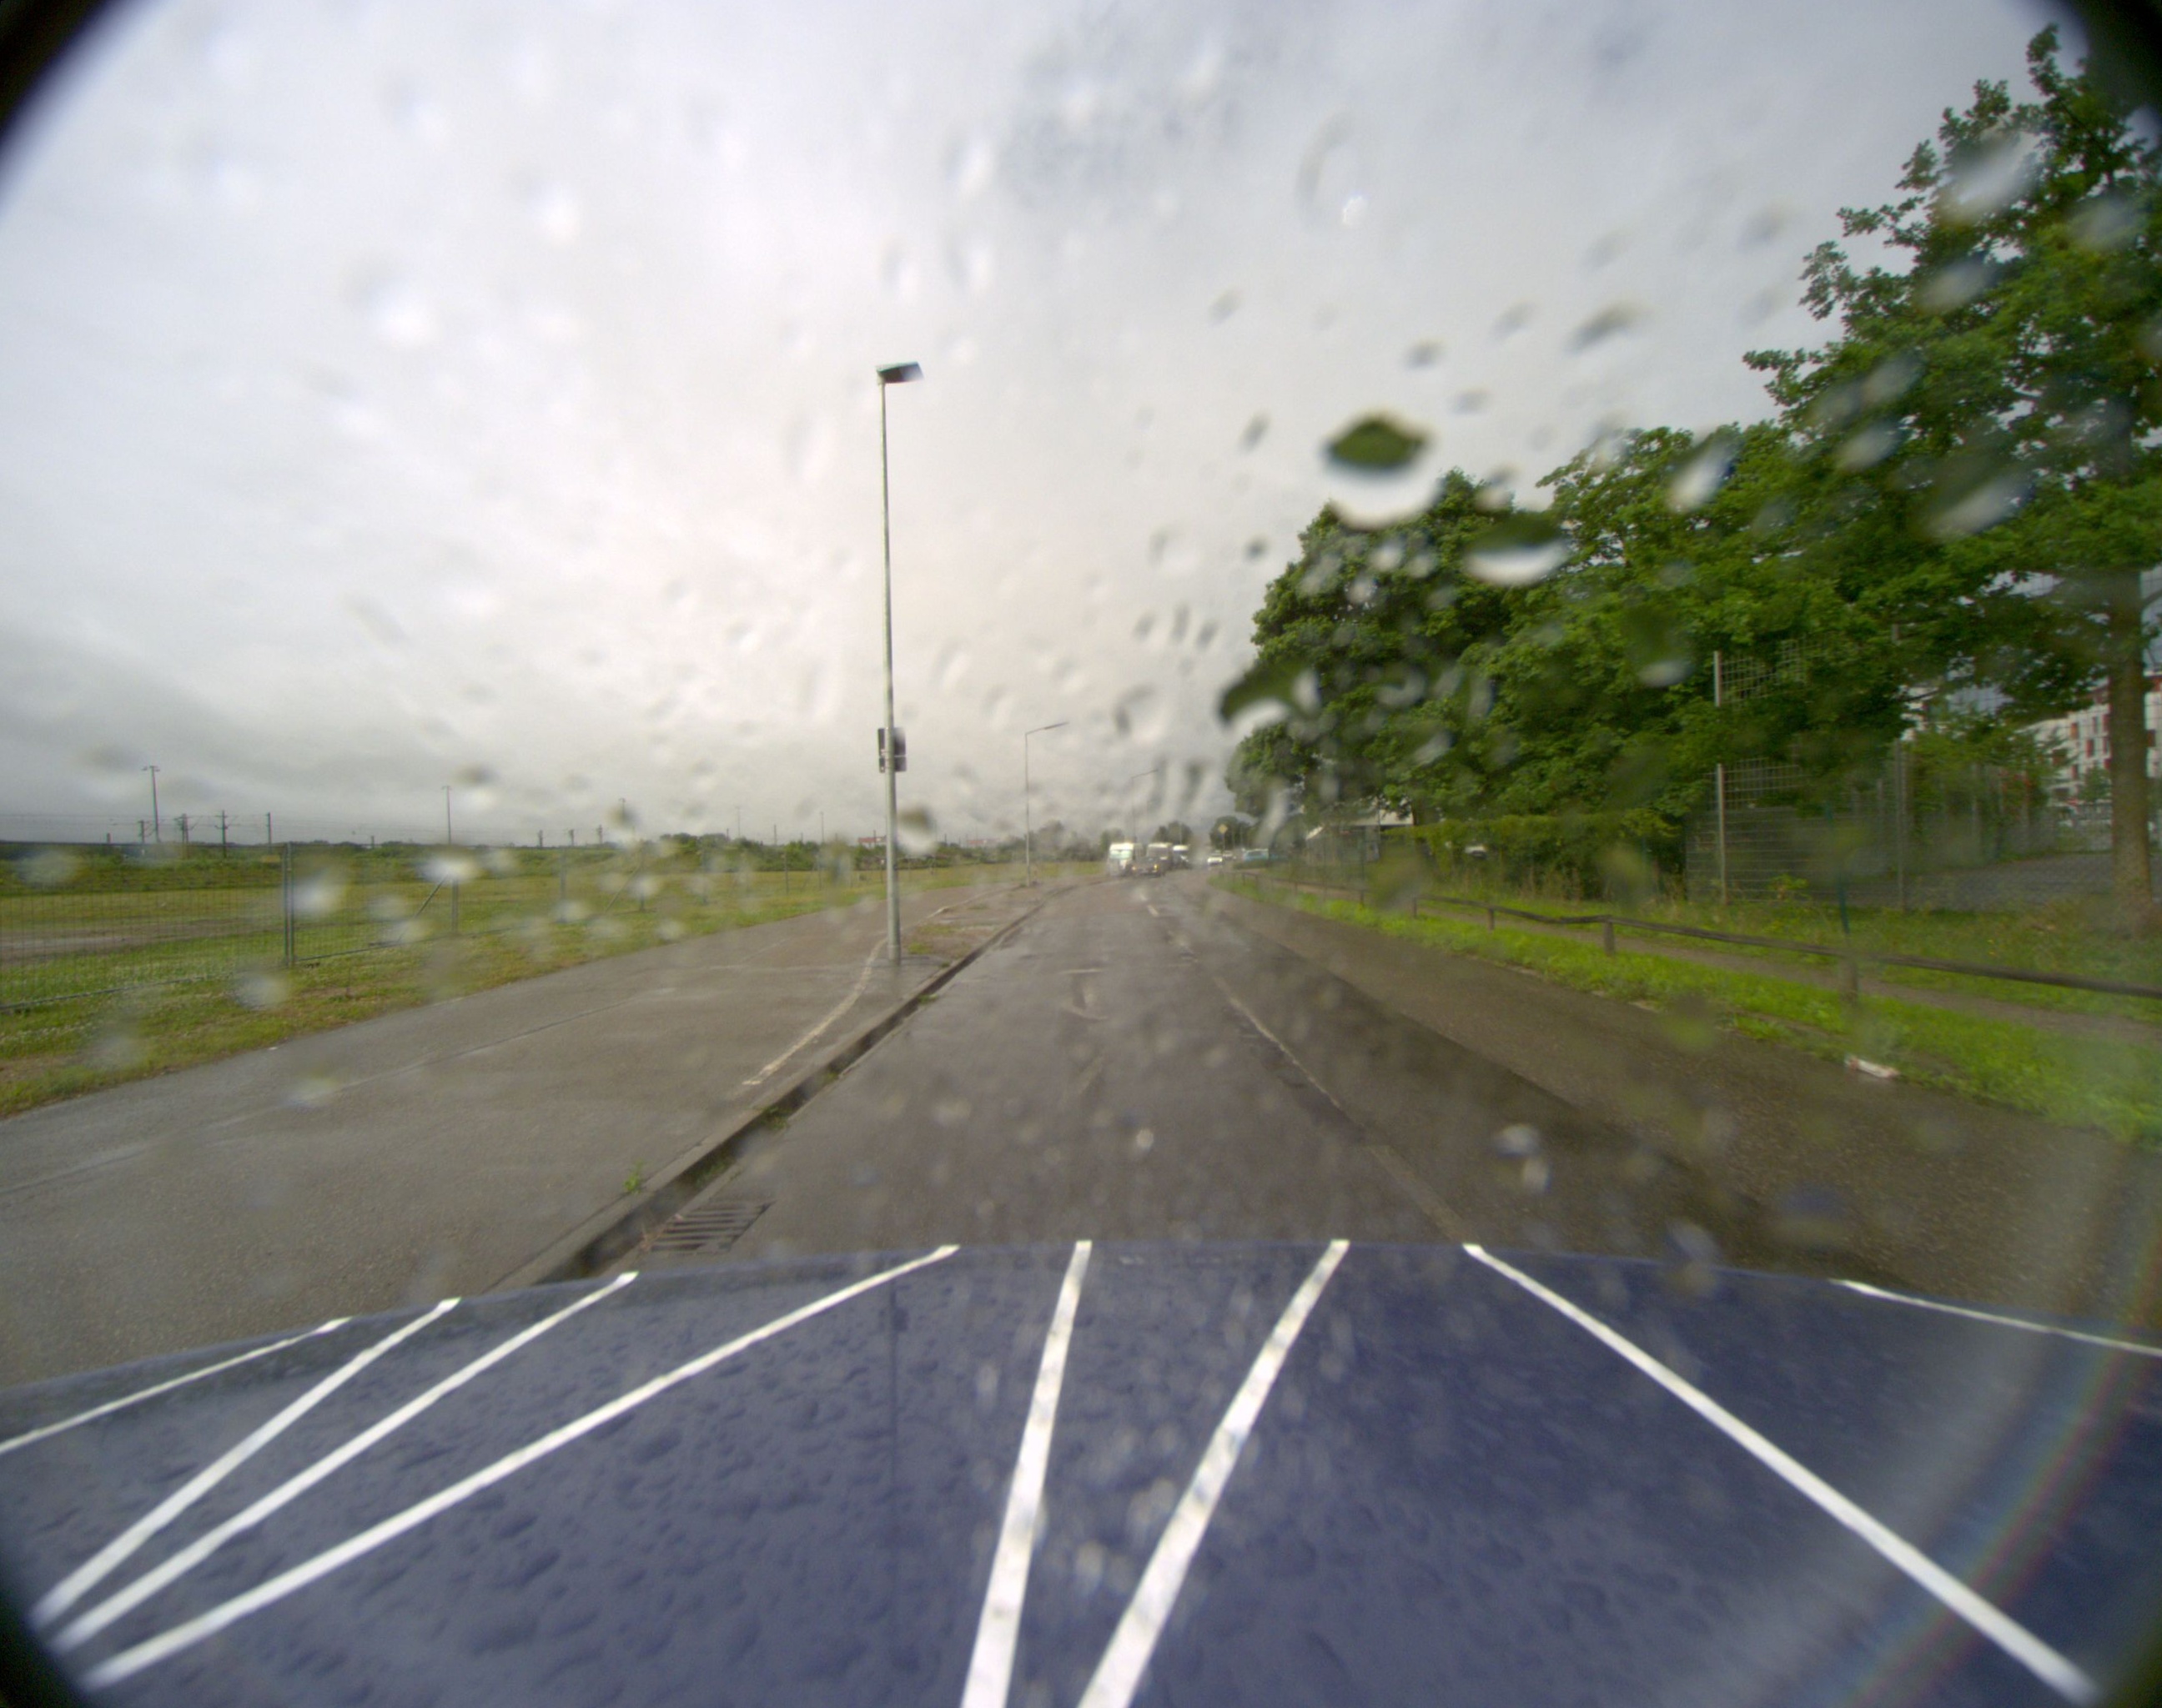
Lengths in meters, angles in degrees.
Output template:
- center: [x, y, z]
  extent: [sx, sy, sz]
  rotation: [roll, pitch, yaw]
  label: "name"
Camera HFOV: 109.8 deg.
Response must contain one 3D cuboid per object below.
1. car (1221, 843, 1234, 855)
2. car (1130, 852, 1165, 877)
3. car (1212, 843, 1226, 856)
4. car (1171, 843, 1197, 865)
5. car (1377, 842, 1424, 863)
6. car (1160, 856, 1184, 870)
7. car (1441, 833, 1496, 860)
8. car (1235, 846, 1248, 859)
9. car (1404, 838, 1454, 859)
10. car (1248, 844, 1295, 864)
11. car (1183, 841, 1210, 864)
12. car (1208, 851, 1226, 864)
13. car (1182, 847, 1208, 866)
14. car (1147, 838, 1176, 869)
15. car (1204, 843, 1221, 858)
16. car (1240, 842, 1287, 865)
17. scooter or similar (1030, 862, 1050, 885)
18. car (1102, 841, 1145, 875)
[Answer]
- center: [29.260, -1.037, 151.639]
  extent: [1.996, 2.228, 4.568]
  rotation: [-2, 0, 16]
  label: "car"
- center: [4.525, 0.663, 51.027]
  extent: [1.872, 1.510, 4.361]
  rotation: [-1, 0, 11]
  label: "car"
- center: [23.745, -0.776, 130.539]
  extent: [1.996, 2.228, 4.568]
  rotation: [-2, 0, 16]
  label: "car"
- center: [12.435, 0.010, 91.311]
  extent: [2.071, 2.514, 6.665]
  rotation: [0, 0, 17]
  label: "car"
- center: [24.131, -0.149, 57.514]
  extent: [1.642, 1.388, 4.187]
  rotation: [-4, 1, -2]
  label: "car"
- center: [9.886, 0.969, 82.225]
  extent: [1.732, 1.485, 4.446]
  rotation: [0, 1, 17]
  label: "car"
- center: [28.899, -0.566, 56.835]
  extent: [1.642, 1.825, 4.348]
  rotation: [-4, 1, -2]
  label: "car"
- center: [28.877, -0.309, 136.864]
  extent: [1.997, 2.002, 4.004]
  rotation: [-5, 0, 14]
  label: "car"
- center: [26.203, -0.410, 57.376]
  extent: [1.687, 1.388, 4.127]
  rotation: [-4, 1, -2]
  label: "car"
- center: [18.096, -0.025, 72.251]
  extent: [4.179, 1.540, 1.861]
  rotation: [-5, 0, 15]
  label: "car"
- center: [15.540, -0.258, 101.639]
  extent: [2.473, 2.939, 6.895]
  rotation: [-1, 1, 18]
  label: "car"
- center: [17.605, 0.439, 98.478]
  extent: [1.839, 1.510, 4.362]
  rotation: [-2, 0, 16]
  label: "car"
- center: [11.691, 0.232, 77.851]
  extent: [2.008, 1.695, 4.334]
  rotation: [-3, 0, 15]
  label: "car"
- center: [8.038, -0.090, 75.564]
  extent: [2.147, 2.867, 5.281]
  rotation: [1, 1, 14]
  label: "car"
- center: [20.579, -0.568, 118.875]
  extent: [1.996, 2.228, 4.568]
  rotation: [-2, 0, 16]
  label: "car"
- center: [16.304, -0.043, 67.710]
  extent: [3.815, 1.624, 1.757]
  rotation: [-5, 0, 18]
  label: "car"
- center: [-2.223, 1.076, 41.506]
  extent: [0.491, 1.208, 1.342]
  rotation: [-2, 1, 24]
  label: "scooter or similar"
- center: [3.340, 0.288, 58.423]
  extent: [2.094, 2.458, 5.953]
  rotation: [-1, 1, 16]
  label: "car"
